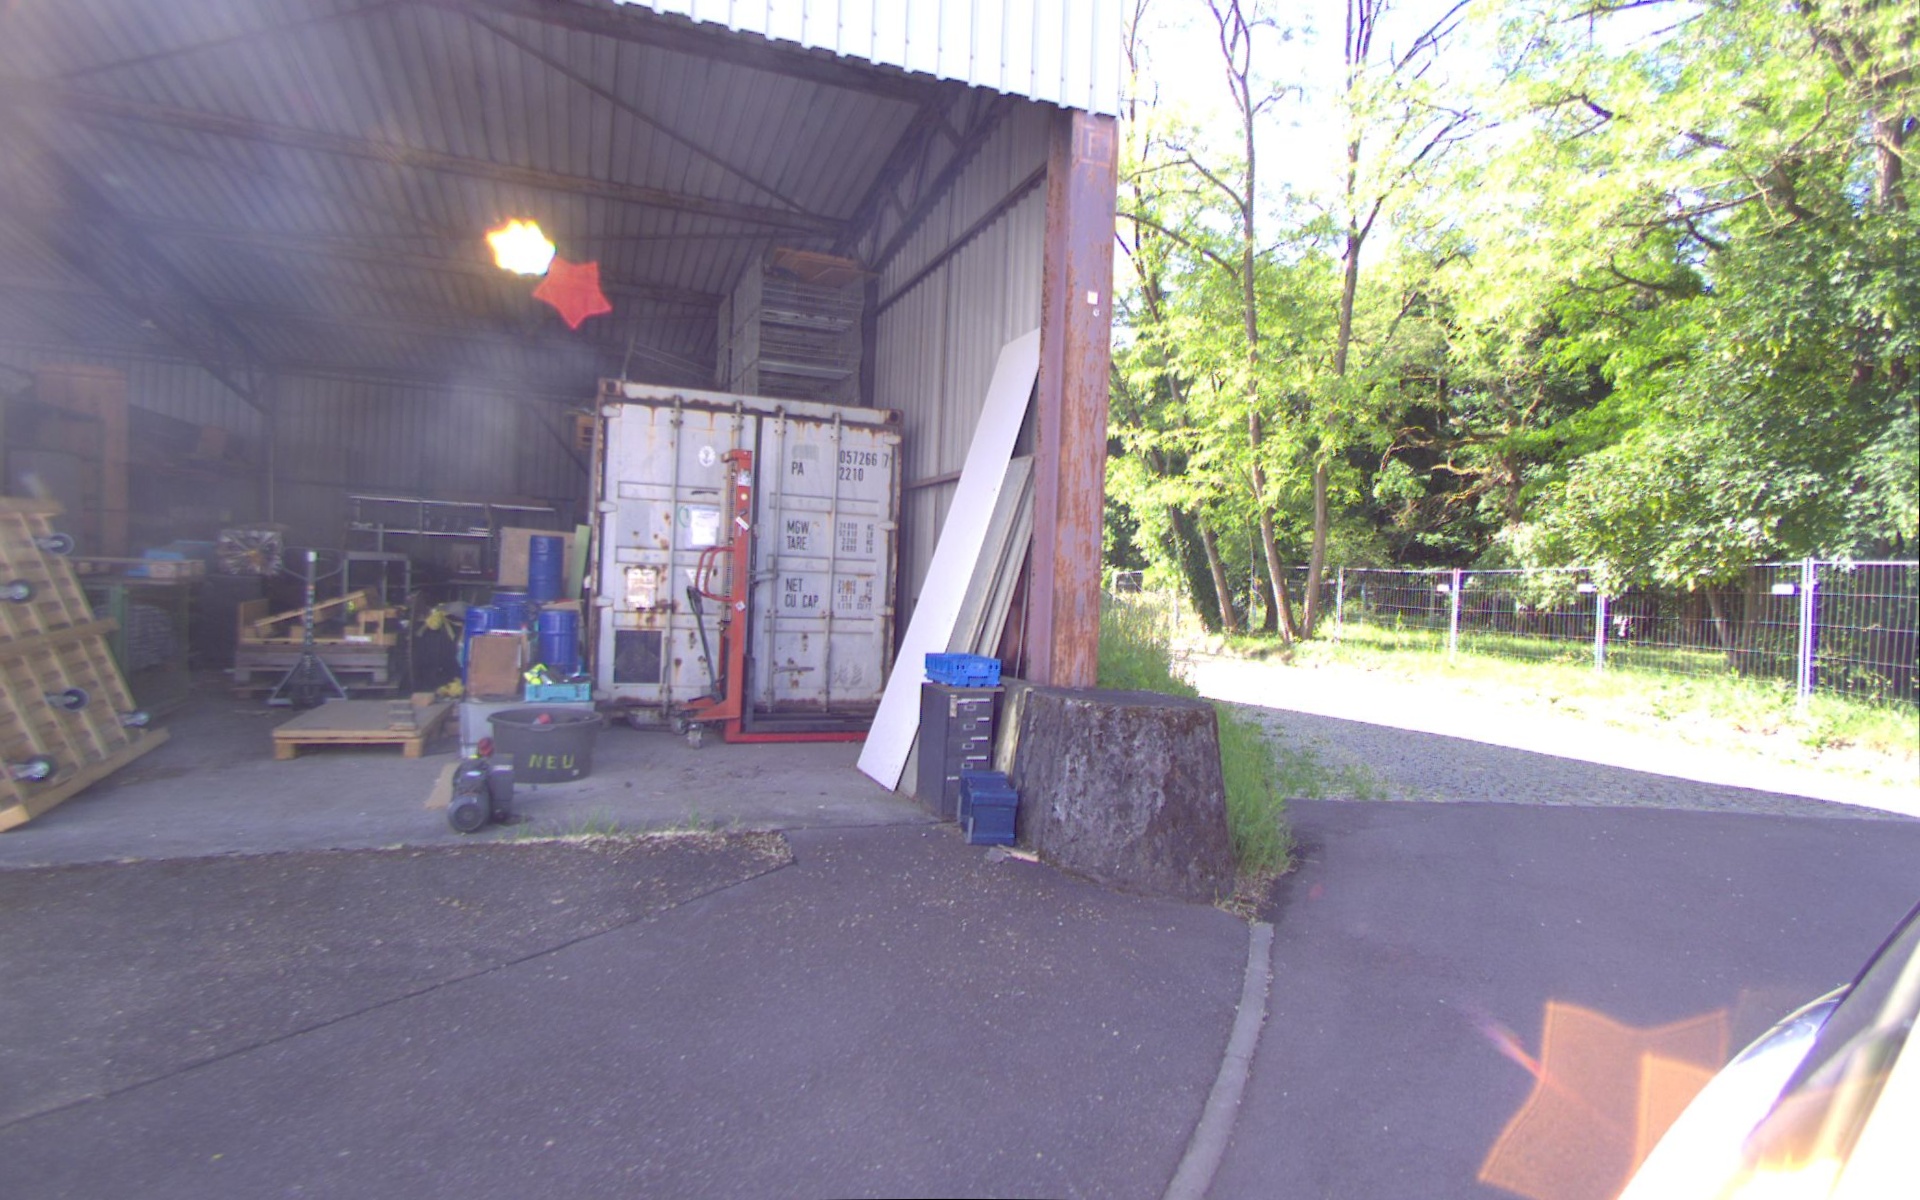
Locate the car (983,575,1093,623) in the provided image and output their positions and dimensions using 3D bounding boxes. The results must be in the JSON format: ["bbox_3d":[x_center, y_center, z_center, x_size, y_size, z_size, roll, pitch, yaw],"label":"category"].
[{"bbox_3d":[3.071,-0.064,40.133,3.916,1.818,1.888,0,0,-21],"label":"car"}]

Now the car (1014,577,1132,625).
[{"bbox_3d":[4.158,0.013,37.261,3.916,1.707,1.862,0,0,-21],"label":"car"}]
